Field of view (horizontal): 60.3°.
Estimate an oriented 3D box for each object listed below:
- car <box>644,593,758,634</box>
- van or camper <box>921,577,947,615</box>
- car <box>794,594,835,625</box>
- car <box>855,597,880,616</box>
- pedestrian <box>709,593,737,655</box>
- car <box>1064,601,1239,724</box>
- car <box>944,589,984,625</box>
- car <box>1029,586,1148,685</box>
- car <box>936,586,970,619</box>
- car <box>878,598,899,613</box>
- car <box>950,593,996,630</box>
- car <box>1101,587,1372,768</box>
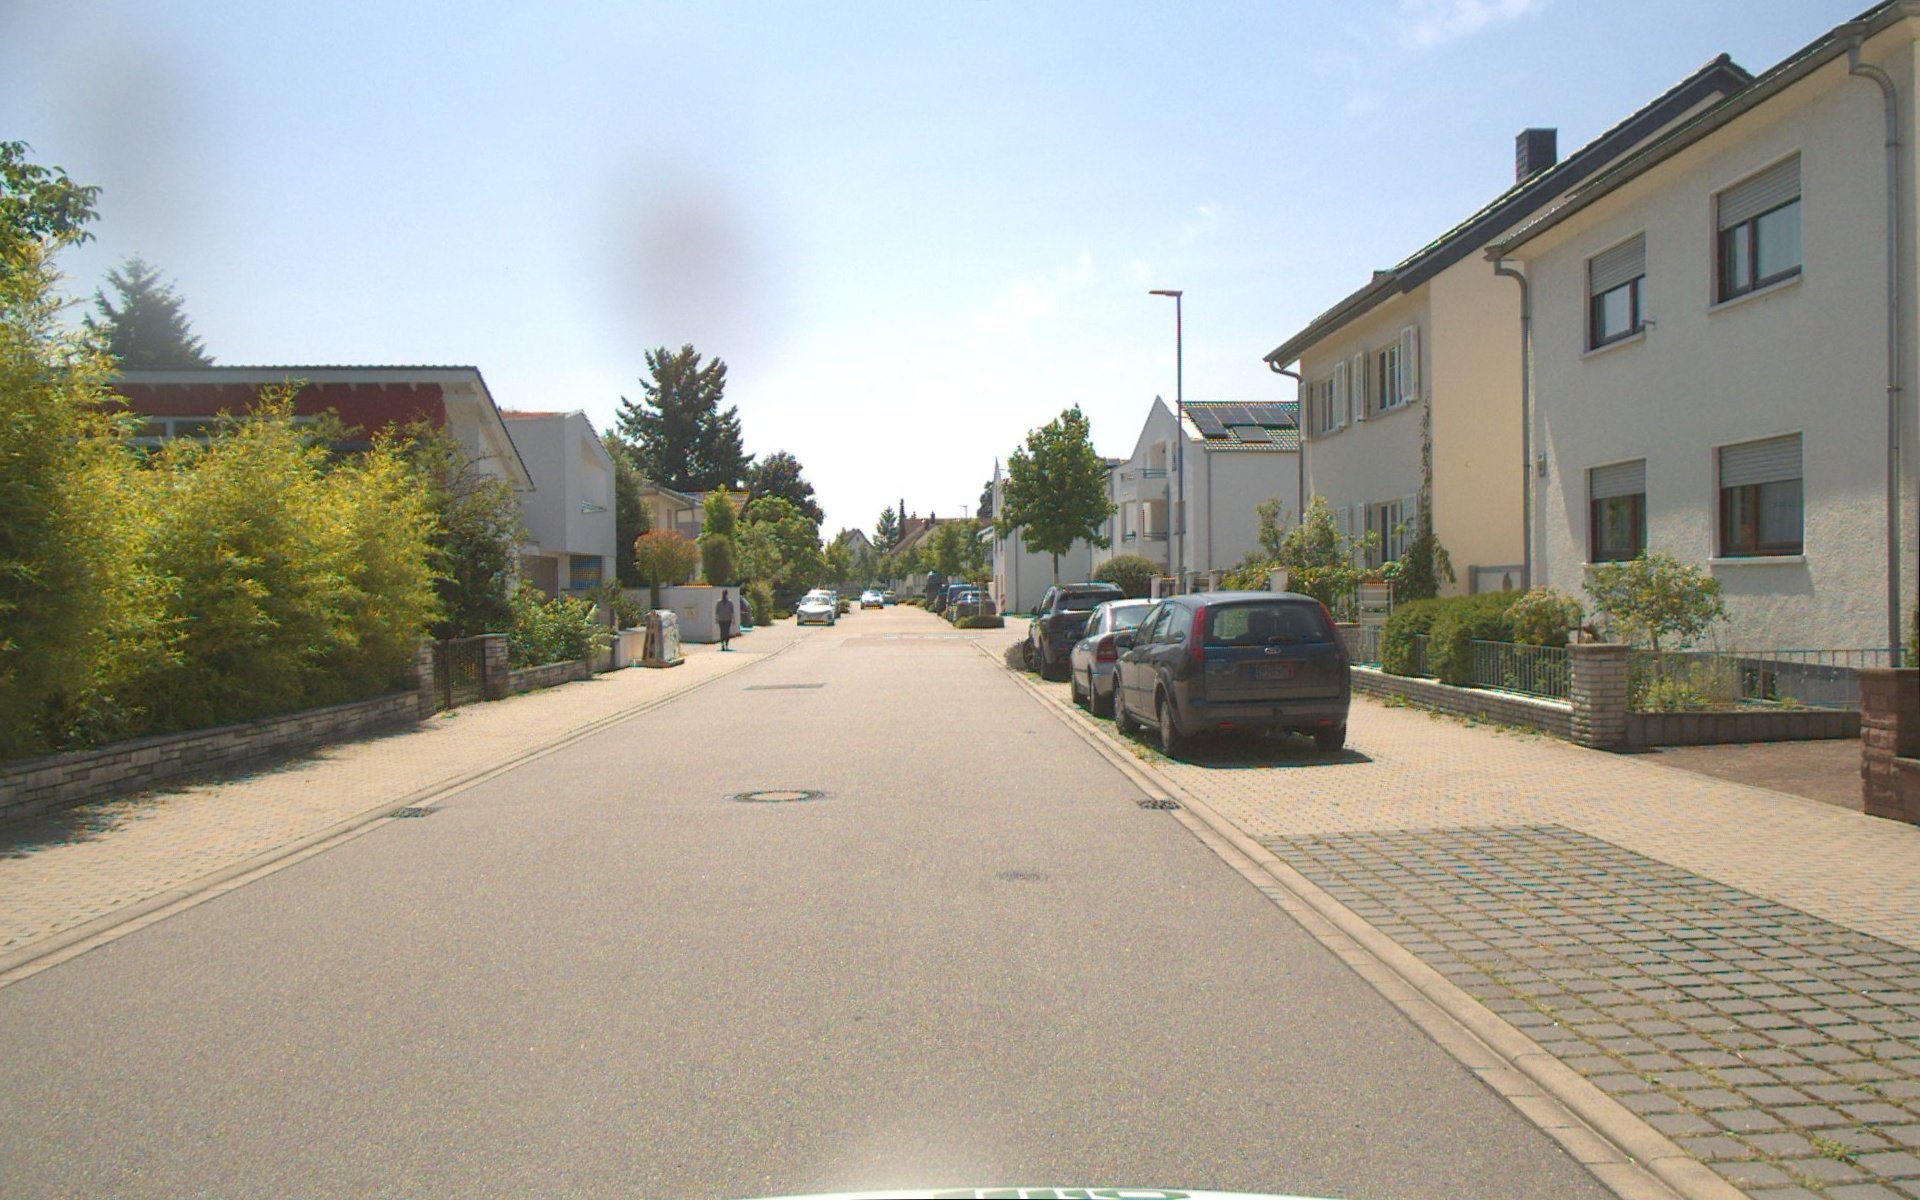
[{"bbox_3d":[-10.739,0.543,68.697,4.337,1.499,1.851,3,0,2],"label":"car"},{"bbox_3d":[-2.065,-0.319,130.883,1.953,2.993,3.998,-1,0,-2],"label":"van or camper"},{"bbox_3d":[-7.268,0.446,83.096,1.814,1.514,4.383,-1,0,-2],"label":"car"},{"bbox_3d":[-7.769,0.539,139.305,1.815,1.504,4.699,-1,0,-1],"label":"car"},{"bbox_3d":[-6.933,0.699,48.413,0.700,1.778,0.960,-1,0,-2],"label":"pedestrian"},{"bbox_3d":[2.481,0.771,22.329,1.777,1.445,4.092,-1,0,-1],"label":"car"},{"bbox_3d":[0.204,0.386,91.689,2.057,1.915,4.841,-1,0,-1],"label":"car"},{"bbox_3d":[2.351,0.601,31.389,1.777,1.685,4.563,-1,1,-1],"label":"car"},{"bbox_3d":[-0.472,0.129,105.857,1.953,1.981,5.212,-2,0,-2],"label":"car"},{"bbox_3d":[-7.295,0.536,168.220,1.953,1.455,3.999,0,0,-1],"label":"car"},{"bbox_3d":[0.556,0.491,74.960,1.738,1.623,4.275,-1,0,-4],"label":"car"},{"bbox_3d":[2.634,0.673,16.789,1.707,1.560,4.445,-1,0,-4],"label":"car"}]
